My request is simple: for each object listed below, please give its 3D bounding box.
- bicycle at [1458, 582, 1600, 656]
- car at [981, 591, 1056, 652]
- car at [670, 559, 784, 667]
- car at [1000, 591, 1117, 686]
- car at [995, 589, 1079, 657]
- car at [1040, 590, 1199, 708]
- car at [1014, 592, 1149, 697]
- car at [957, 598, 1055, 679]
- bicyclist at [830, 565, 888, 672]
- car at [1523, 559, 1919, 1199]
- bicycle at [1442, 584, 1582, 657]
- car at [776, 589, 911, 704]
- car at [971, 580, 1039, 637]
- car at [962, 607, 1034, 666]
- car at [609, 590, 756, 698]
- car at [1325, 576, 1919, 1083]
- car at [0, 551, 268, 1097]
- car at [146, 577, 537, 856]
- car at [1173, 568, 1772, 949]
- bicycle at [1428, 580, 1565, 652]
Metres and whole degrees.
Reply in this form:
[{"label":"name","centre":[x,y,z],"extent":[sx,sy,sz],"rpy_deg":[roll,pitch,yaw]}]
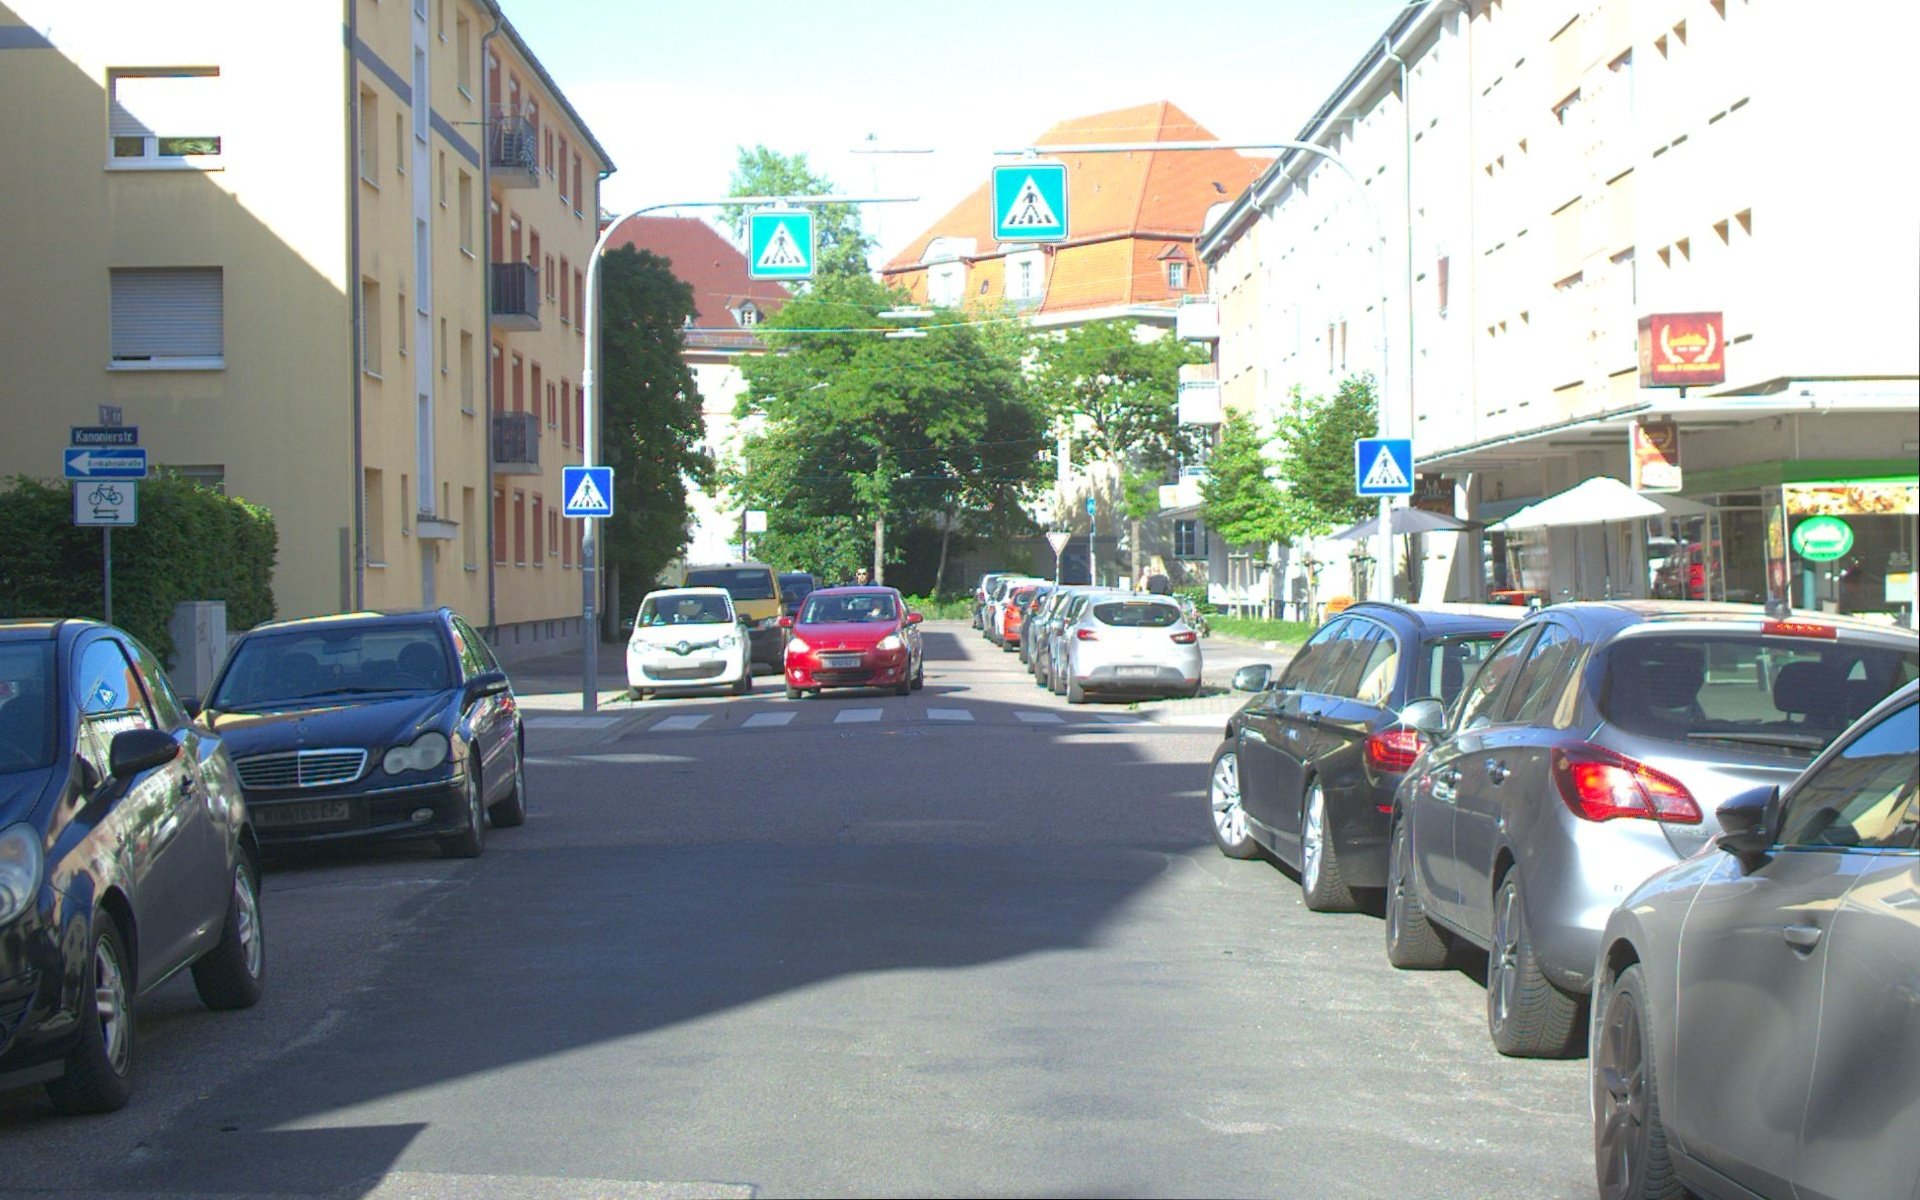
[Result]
[{"label":"bicycle","centre":[7.975,0.268,48.211],"extent":[1.806,0.964,0.674],"rpy_deg":[2,-1,-11]},{"label":"car","centre":[1.384,0.506,82.699],"extent":[1.637,1.436,3.419],"rpy_deg":[1,0,-1]},{"label":"car","centre":[-4.057,0.243,60.403],"extent":[1.697,1.773,4.098],"rpy_deg":[2,-1,0]},{"label":"car","centre":[1.574,0.621,55.960],"extent":[1.637,1.436,3.419],"rpy_deg":[2,-1,-2]},{"label":"car","centre":[1.694,0.512,76.571],"extent":[1.637,1.436,3.419],"rpy_deg":[2,-1,-1]},{"label":"car","centre":[2.065,0.635,45.369],"extent":[1.845,1.436,3.419],"rpy_deg":[2,-1,-1]},{"label":"car","centre":[1.749,0.646,50.366],"extent":[1.690,1.436,3.419],"rpy_deg":[2,-1,-2]},{"label":"car","centre":[0.849,0.718,65.010],"extent":[1.637,1.436,3.419],"rpy_deg":[2,-1,-2]},{"label":"bicyclist","centre":[-1.531,0.278,52.429],"extent":[0.786,1.616,0.956],"rpy_deg":[0,0,4]},{"label":"car","centre":[2.414,0.768,6.670],"extent":[1.792,1.466,4.339],"rpy_deg":[6,-1,0]},{"label":"bicycle","centre":[7.841,0.287,48.839],"extent":[1.806,0.964,0.674],"rpy_deg":[2,-1,-11]},{"label":"car","centre":[-1.582,0.613,46.362],"extent":[1.697,1.436,3.419],"rpy_deg":[2,-1,-2]},{"label":"car","centre":[1.182,0.237,92.020],"extent":[1.637,1.436,3.419],"rpy_deg":[2,-1,-1]},{"label":"car","centre":[0.951,0.925,87.618],"extent":[1.637,1.436,3.419],"rpy_deg":[2,-1,-1]},{"label":"car","centre":[-3.957,0.605,49.614],"extent":[1.791,1.475,4.099],"rpy_deg":[1,0,0]},{"label":"car","centre":[2.407,0.734,12.250],"extent":[1.645,1.455,3.939],"rpy_deg":[3,-1,-1]},{"label":"car","centre":[-3.349,0.647,10.906],"extent":[1.645,1.411,4.081],"rpy_deg":[-2,-1,-3]},{"label":"car","centre":[-3.535,0.655,20.351],"extent":[1.703,1.411,4.374],"rpy_deg":[-2,-1,-3]},{"label":"car","centre":[2.313,0.714,16.866],"extent":[1.853,1.518,4.777],"rpy_deg":[3,-1,-4]},{"label":"bicycle","centre":[7.717,0.233,49.467],"extent":[1.806,0.964,0.674],"rpy_deg":[2,-1,-11]}]
